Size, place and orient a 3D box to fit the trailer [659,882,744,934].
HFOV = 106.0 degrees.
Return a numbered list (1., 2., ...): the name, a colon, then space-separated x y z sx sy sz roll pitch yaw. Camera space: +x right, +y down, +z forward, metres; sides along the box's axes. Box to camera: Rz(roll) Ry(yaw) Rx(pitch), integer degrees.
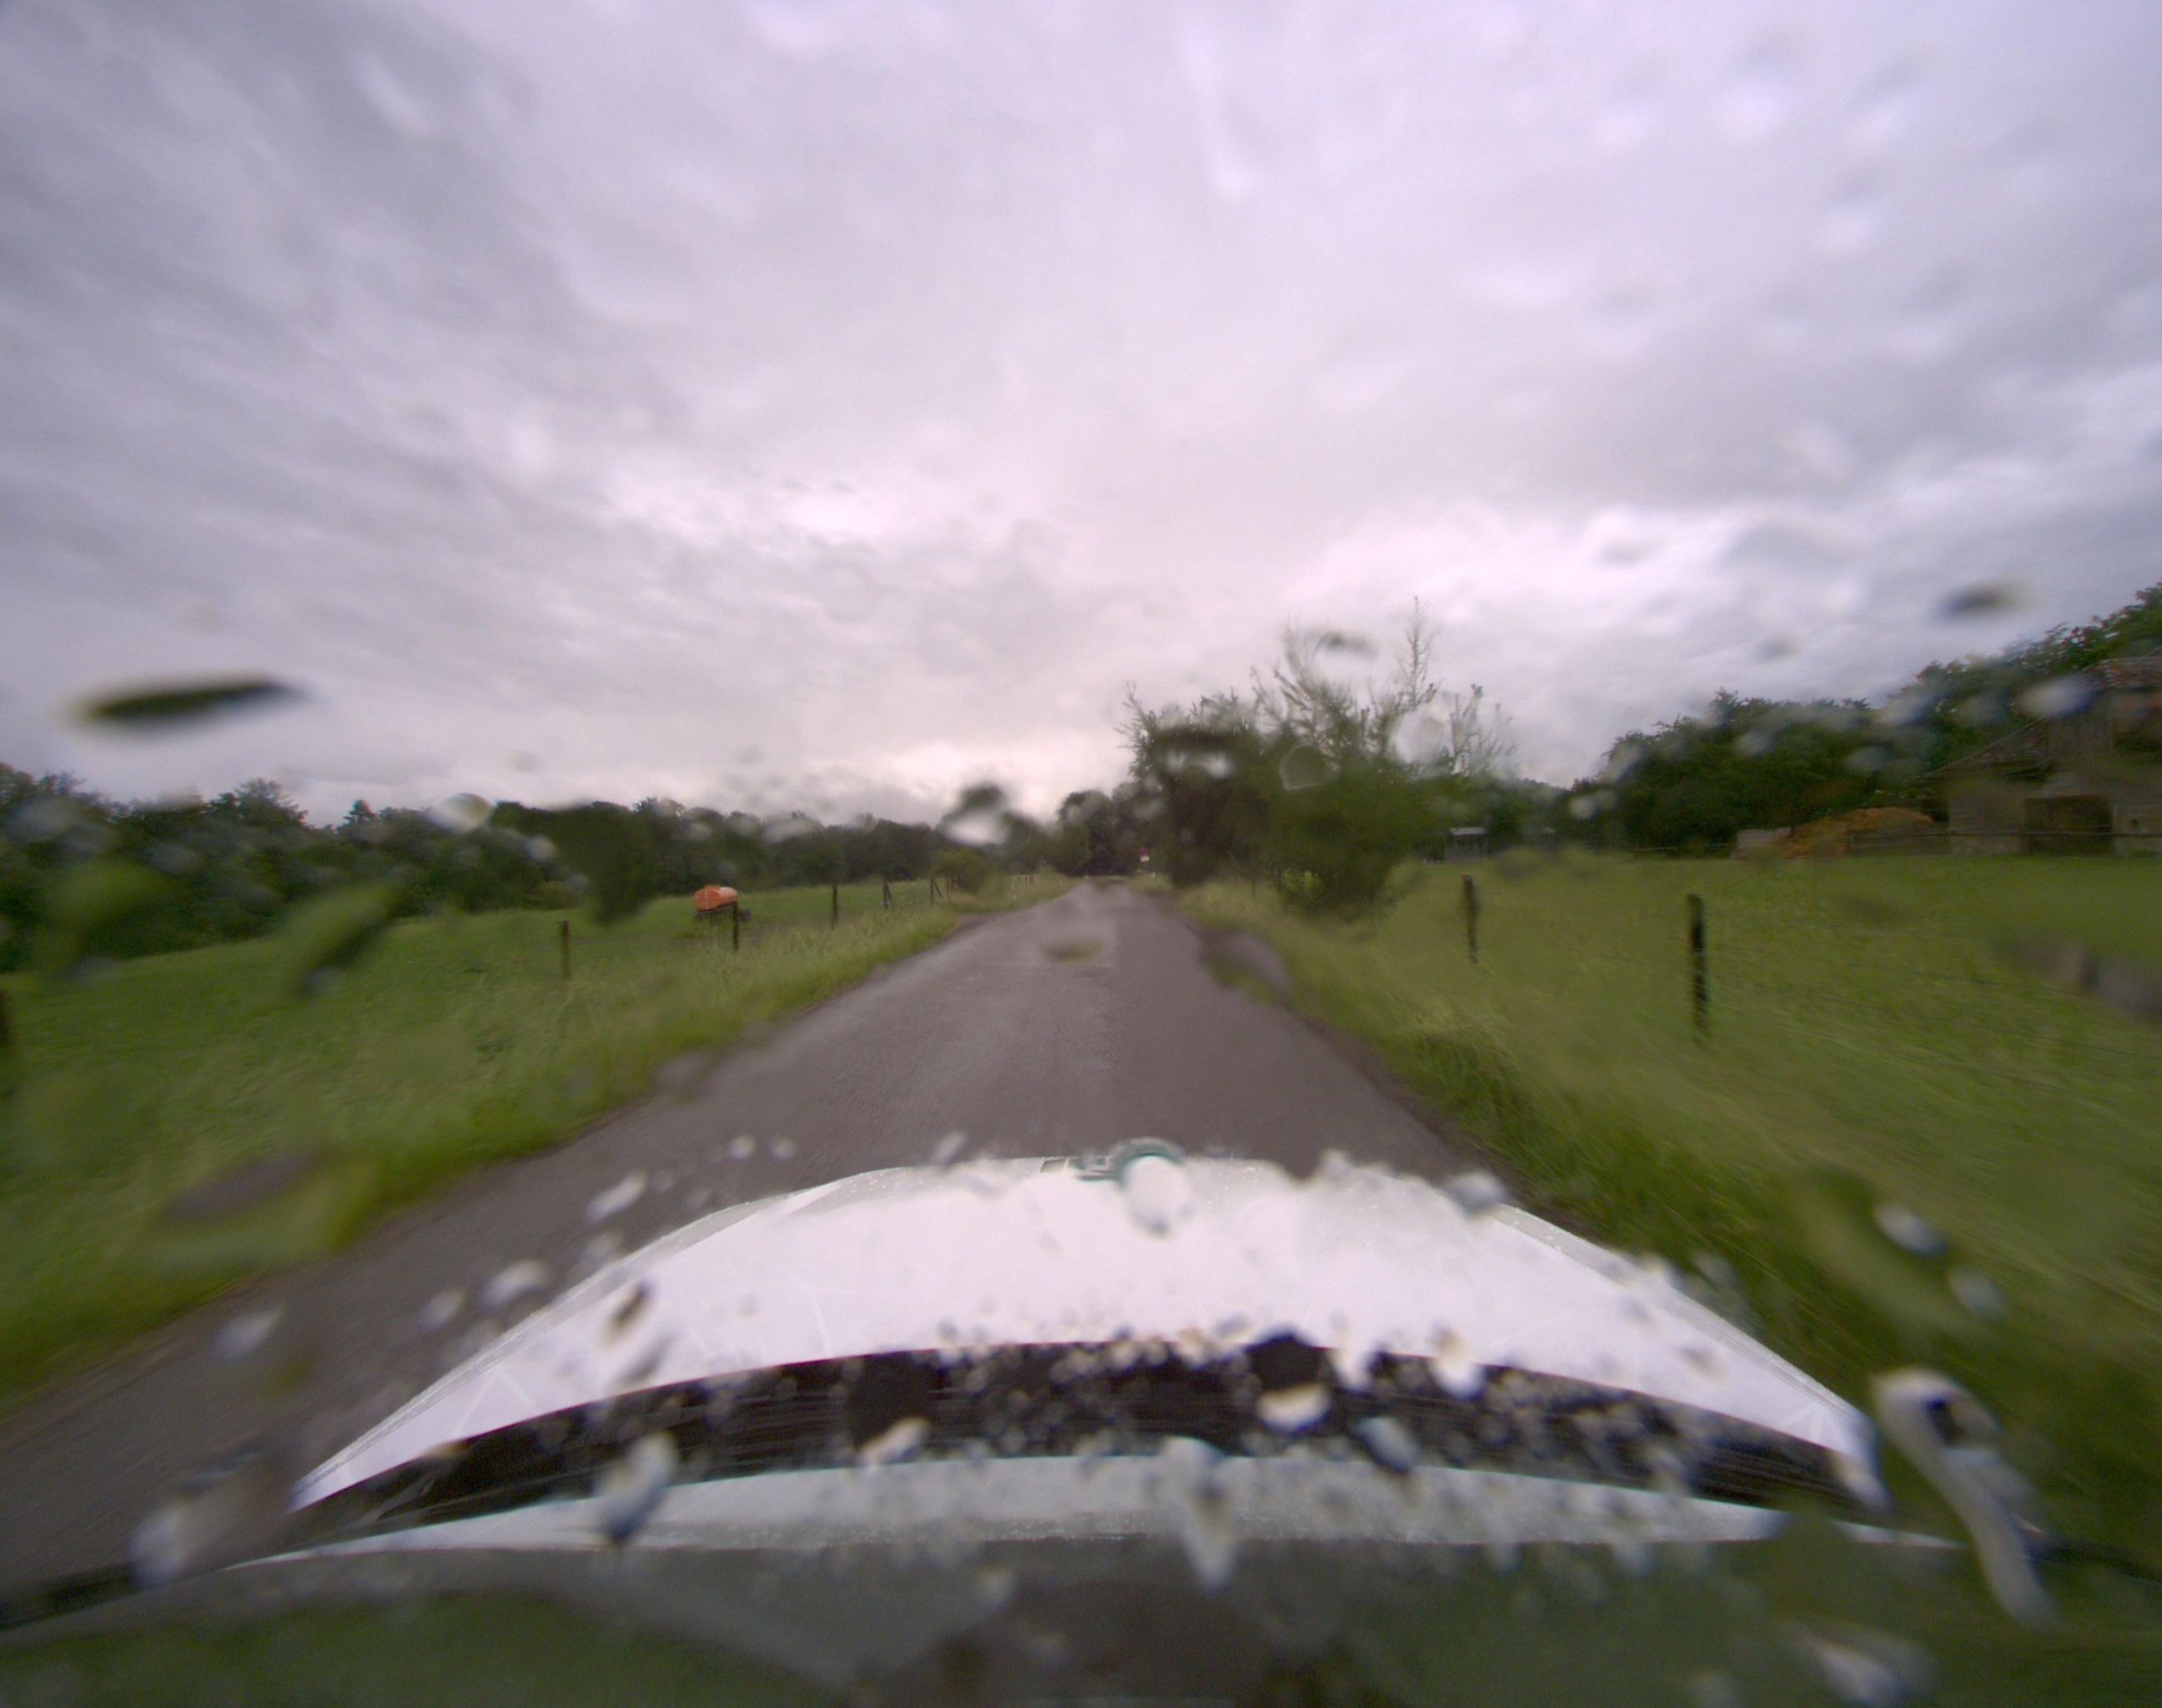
1. trailer: -12.853 1.790 27.750 1.751 1.505 3.081 -3 0 -9
